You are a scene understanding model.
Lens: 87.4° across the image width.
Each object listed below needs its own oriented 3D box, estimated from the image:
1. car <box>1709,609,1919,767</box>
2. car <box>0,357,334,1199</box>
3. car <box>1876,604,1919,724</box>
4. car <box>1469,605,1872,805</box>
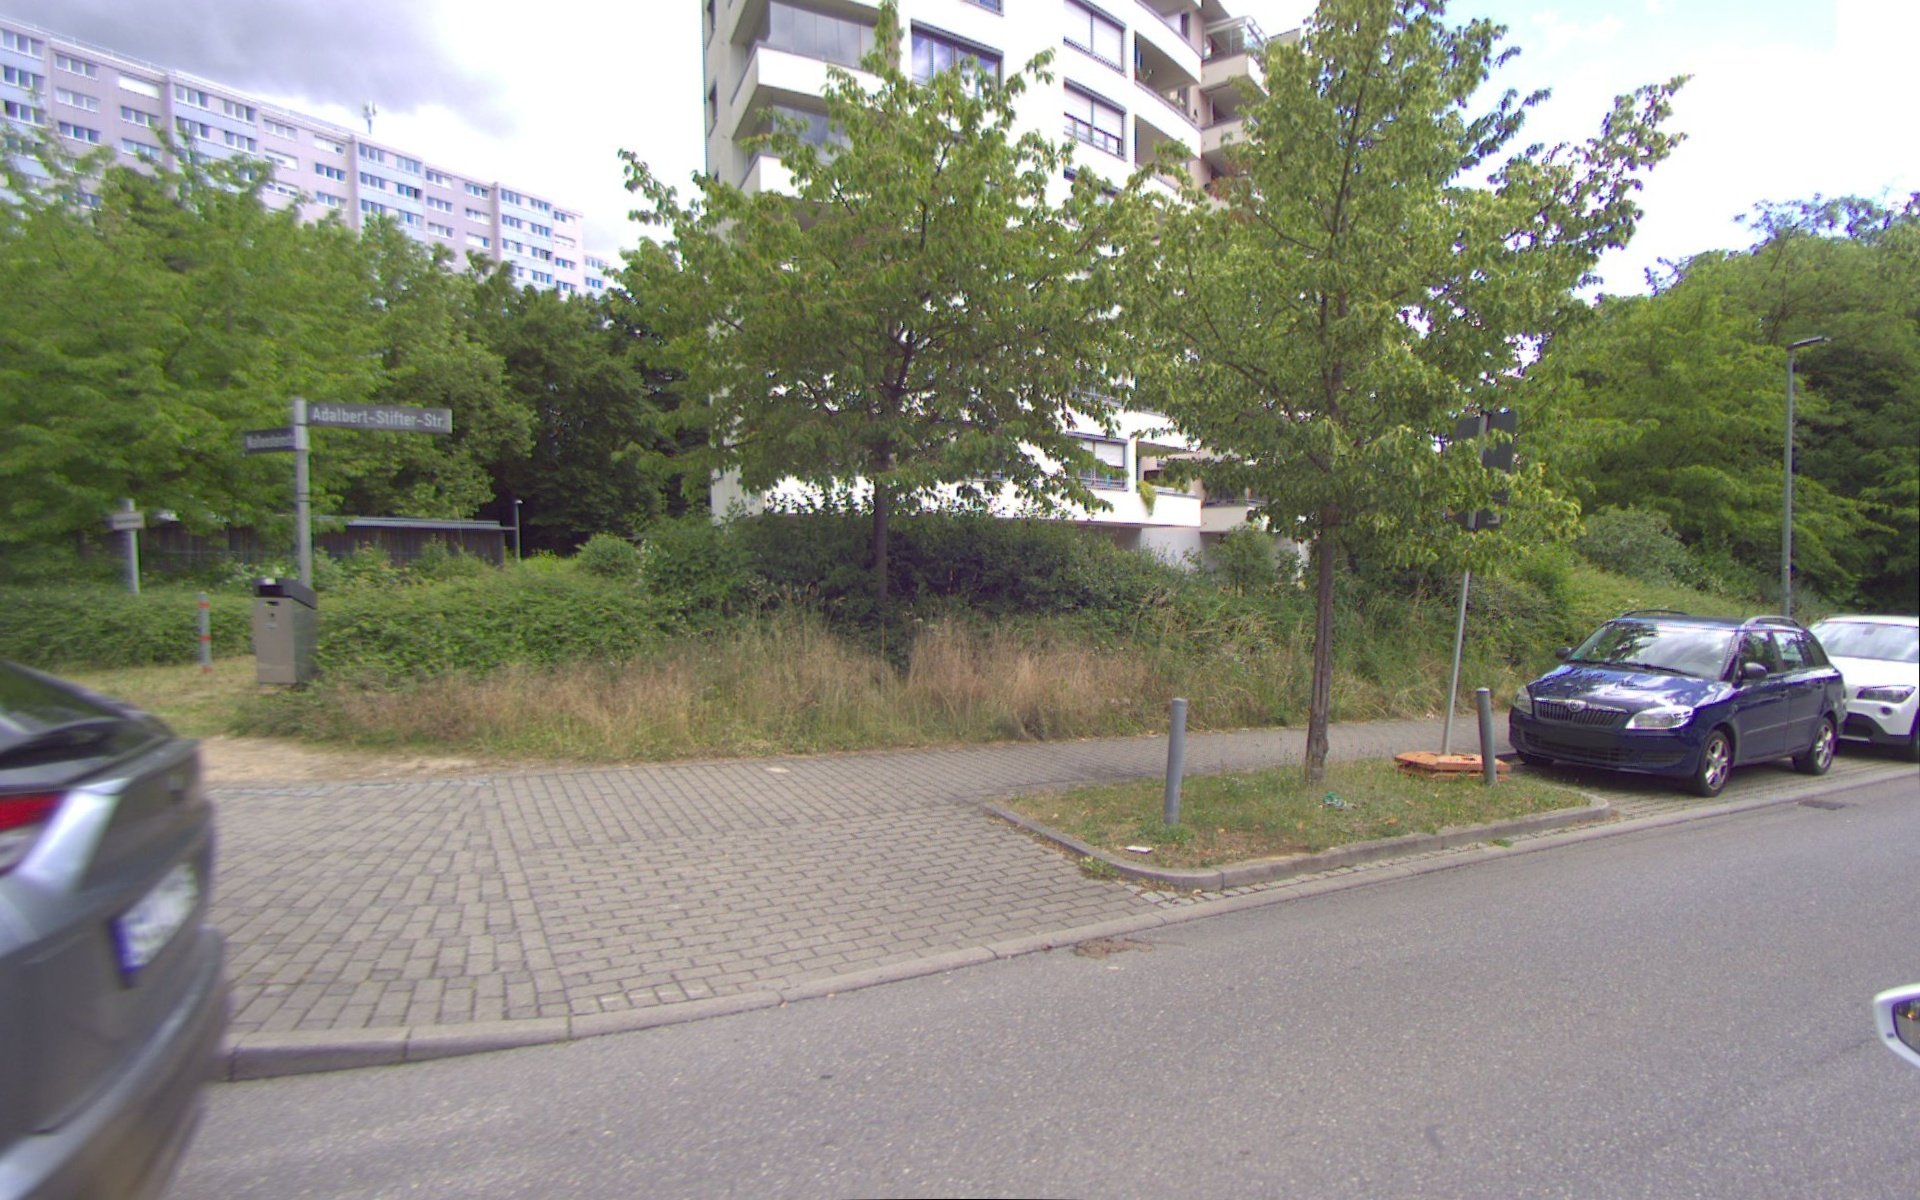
[{"bbox_3d":[11.120,0.945,12.236,4.181,1.532,1.681,1,3,-31],"label":"car"},{"bbox_3d":[-3.231,0.575,1.150,4.115,1.603,1.890,0,-4,-28],"label":"car"},{"bbox_3d":[15.866,0.974,15.128,4.385,1.687,1.797,1,3,-31],"label":"car"},{"bbox_3d":[6.957,0.866,9.774,3.907,1.508,1.681,1,3,-31],"label":"car"}]
